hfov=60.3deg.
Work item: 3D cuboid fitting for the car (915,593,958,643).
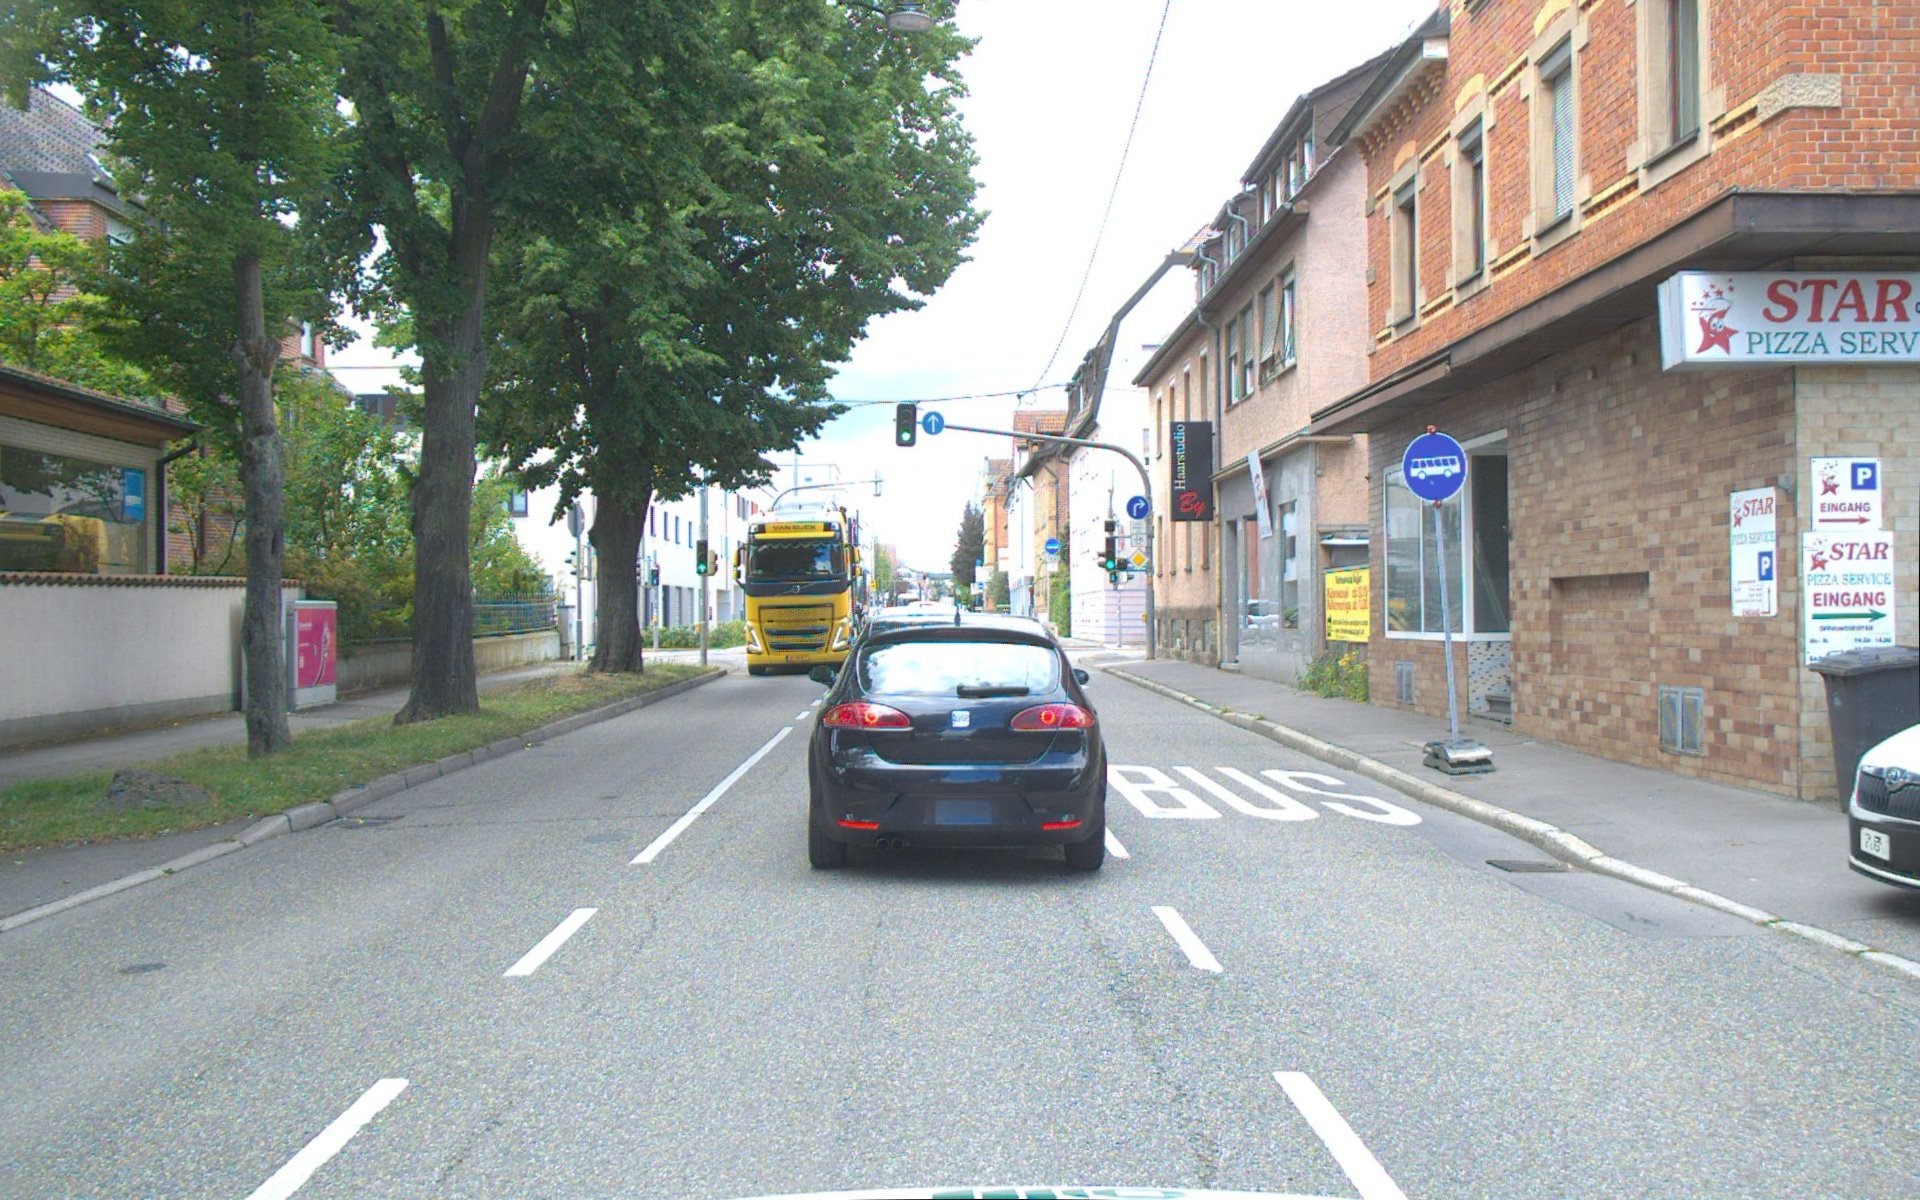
[{"bbox_3d":[-0.858,0.641,58.925,1.500,1.723,3.692,1,-1,-2],"label":"car"}]

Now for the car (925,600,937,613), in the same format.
[{"bbox_3d":[-4.032,0.897,228.928,1.500,1.723,3.692,-1,0,-2],"label":"car"}]

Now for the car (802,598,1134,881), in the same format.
[{"bbox_3d":[0.006,0.758,10.660,1.723,1.467,3.999,1,-1,-1],"label":"car"}]

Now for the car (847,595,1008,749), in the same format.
[{"bbox_3d":[-0.415,0.834,20.672,1.805,1.723,3.998,1,-1,-2],"label":"car"}]

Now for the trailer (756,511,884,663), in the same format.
[{"bbox_3d":[-3.915,-0.251,49.552,2.800,3.875,14.387,1,-1,-1],"label":"trailer"}]

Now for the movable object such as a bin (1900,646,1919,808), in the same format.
[{"bbox_3d":[6.755,0.840,10.882,0.684,1.077,0.723,-2,-1,-1],"label":"movable object such as a bin"}]

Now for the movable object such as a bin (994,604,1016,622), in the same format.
[{"bbox_3d":[3.837,1.103,140.165,1.781,1.462,1.992,1,-1,0],"label":"movable object such as a bin"}]

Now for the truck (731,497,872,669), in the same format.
[{"bbox_3d":[-3.770,-0.332,40.989,2.786,3.849,7.667,1,-1,-1],"label":"truck"}]

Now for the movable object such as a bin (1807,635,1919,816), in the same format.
[{"bbox_3d":[6.015,0.802,10.810,0.594,1.120,0.622,-2,-1,-1],"label":"movable object such as a bin"}]

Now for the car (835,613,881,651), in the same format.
[{"bbox_3d":[-4.382,1.378,71.523,1.731,1.495,4.225,-3,-1,-1],"label":"car"}]

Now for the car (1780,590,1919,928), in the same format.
[{"bbox_3d":[6.256,0.586,7.781,3.949,1.495,1.600,-5,-1,-4],"label":"car"}]

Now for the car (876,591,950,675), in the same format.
[{"bbox_3d":[-1.020,0.711,36.103,1.500,1.723,3.692,1,-1,-2],"label":"car"}]
